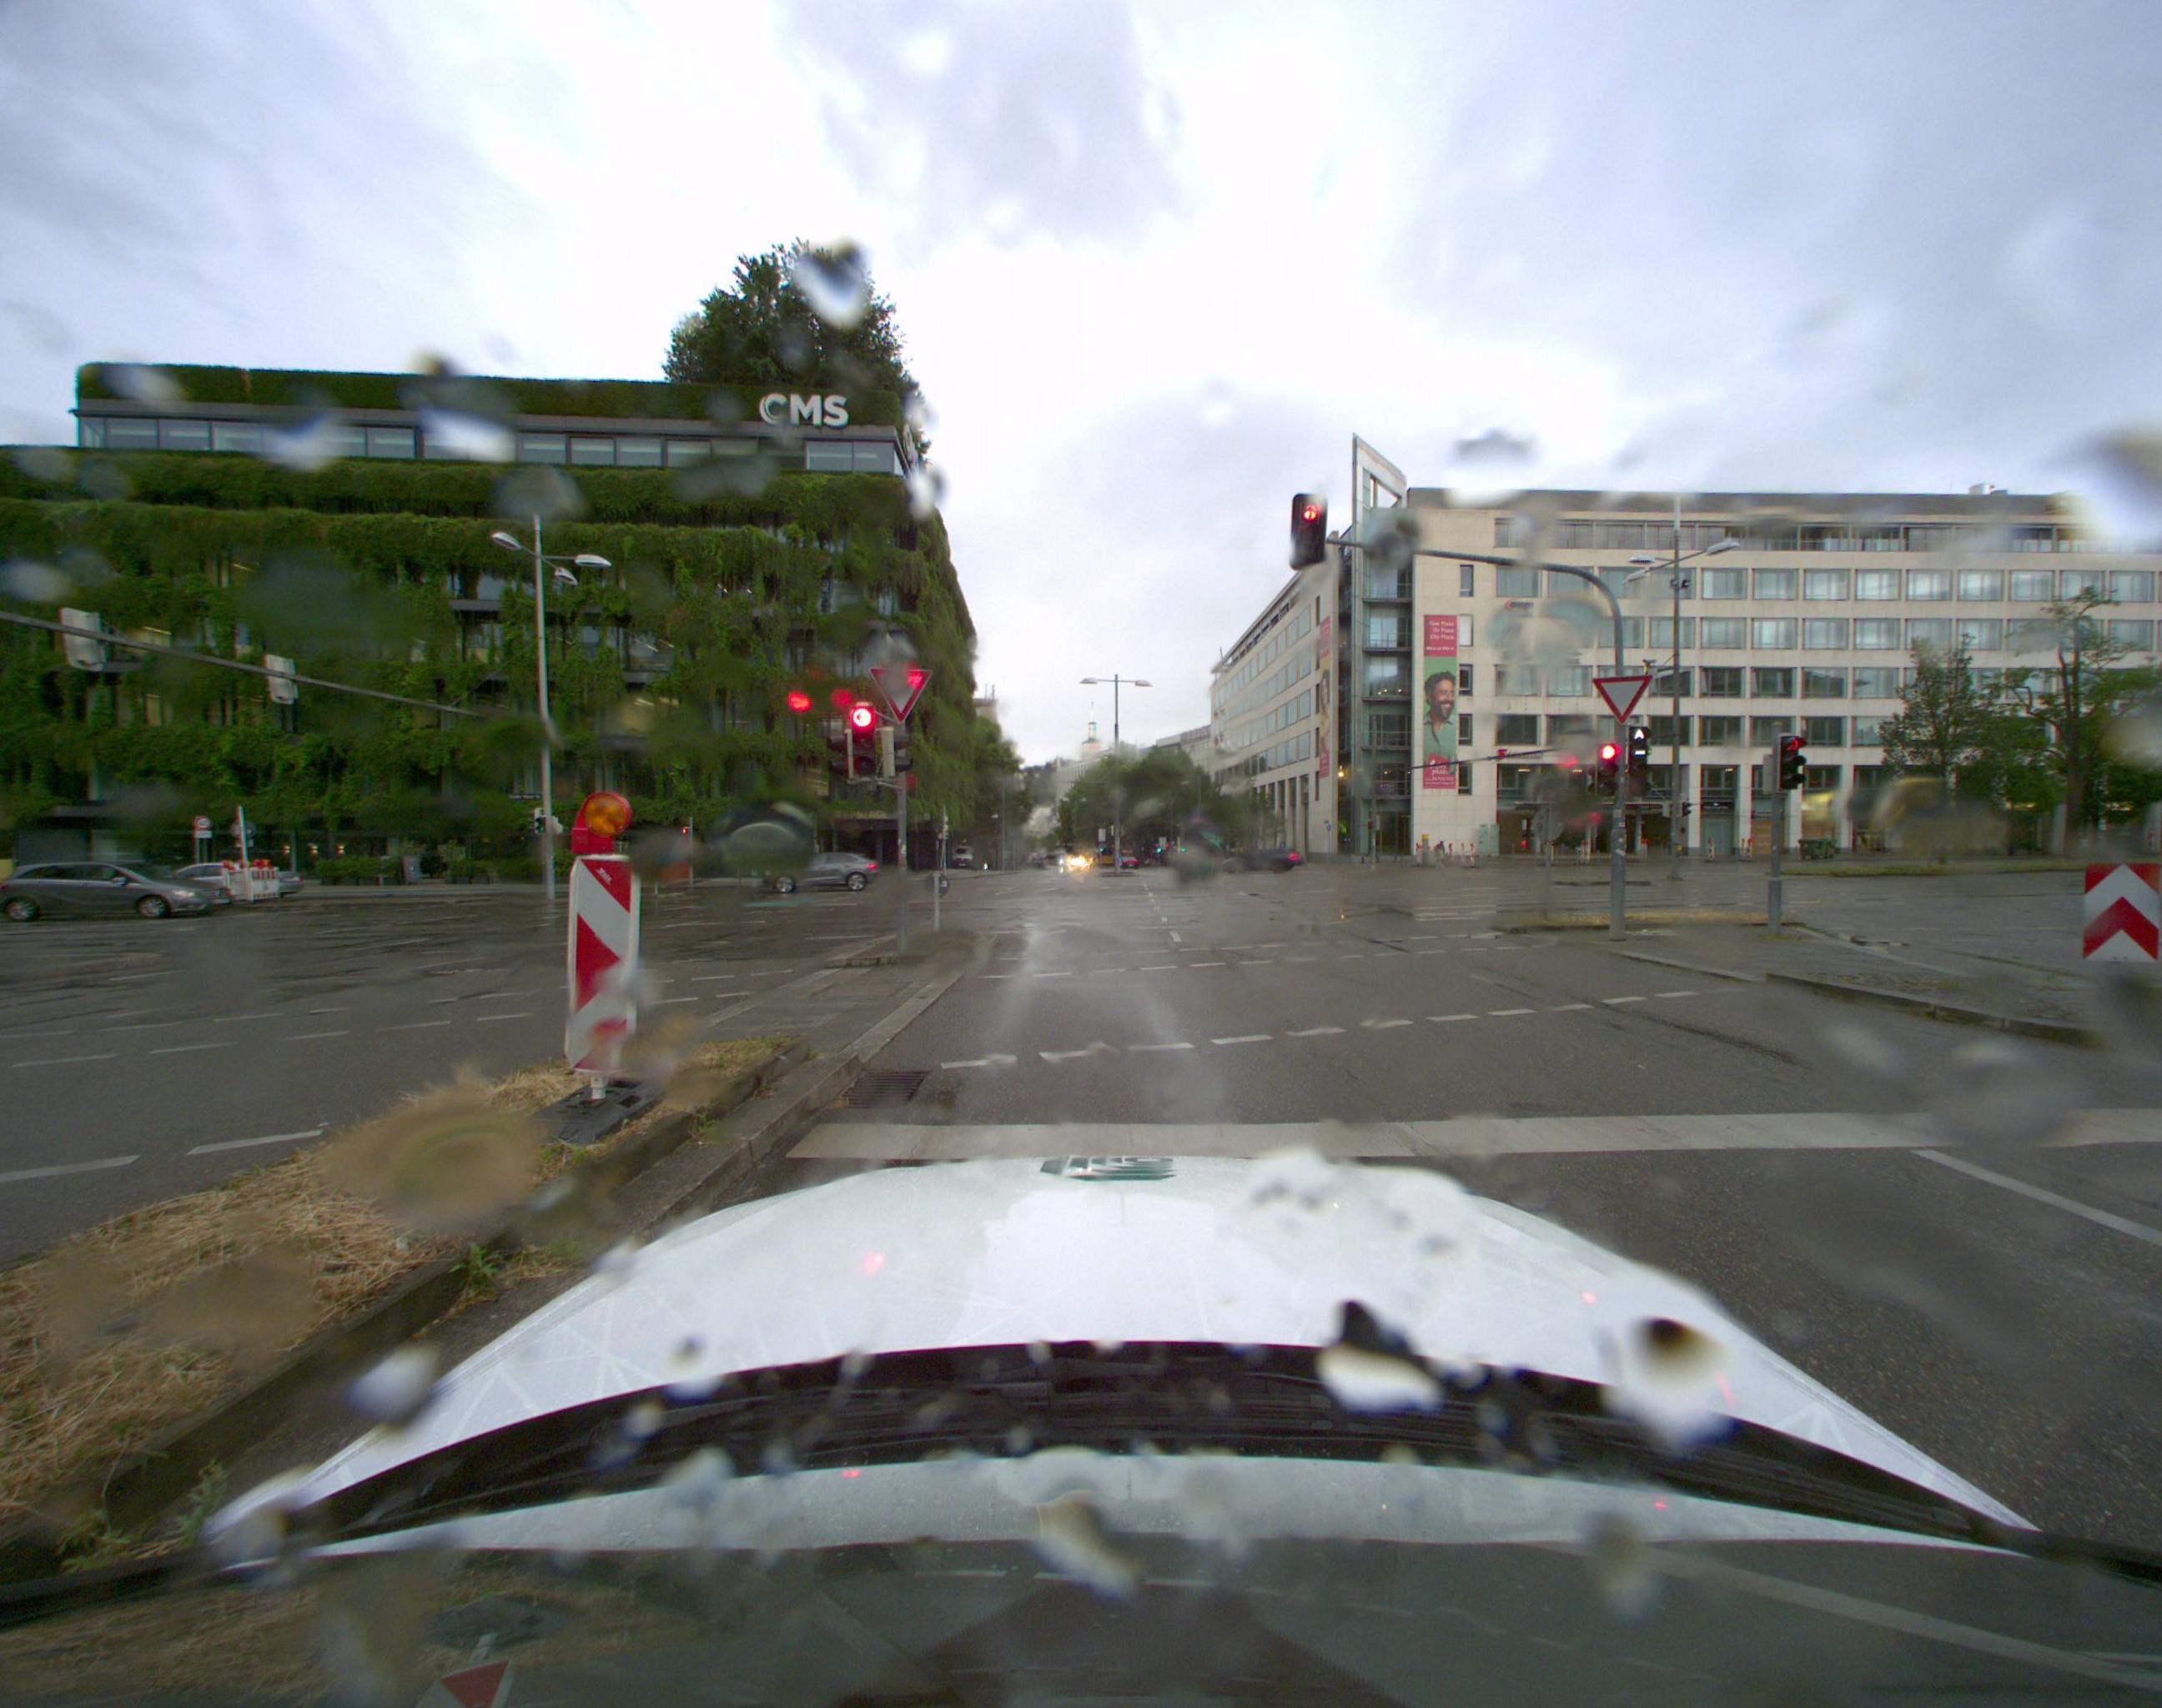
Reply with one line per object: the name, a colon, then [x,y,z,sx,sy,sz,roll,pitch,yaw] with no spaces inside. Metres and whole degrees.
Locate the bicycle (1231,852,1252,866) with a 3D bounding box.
bicycle: [14.303,0.436,72.595,1.770,1.194,0.587,0,-1,3]

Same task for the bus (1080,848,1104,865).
bus: [2.000,0.425,153.274,2.631,2.995,7.415,-1,0,-13]

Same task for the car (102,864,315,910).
car: [-30.183,1.103,28.354,4.721,1.477,1.992,0,1,-12]

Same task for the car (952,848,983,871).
car: [-9.553,0.473,68.729,1.863,1.839,4.001,0,-1,2]

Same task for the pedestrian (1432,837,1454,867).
pedestrian: [21.941,-0.102,49.344,0.958,1.816,0.837,0,-1,1]

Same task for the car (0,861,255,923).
car: [-26.121,0.988,22.059,4.901,1.488,1.924,-1,0,-15]

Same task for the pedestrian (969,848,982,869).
pedestrian: [-8.365,0.340,64.572,0.930,1.644,0.774,0,-1,1]

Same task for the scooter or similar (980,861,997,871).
scooter or similar: [-9.420,1.180,82.941,0.616,1.004,1.671,-1,0,40]

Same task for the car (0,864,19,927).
car: [-27.338,1.007,18.303,3.981,1.475,1.996,-1,0,-6]

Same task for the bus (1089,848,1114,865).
bus: [3.692,0.395,146.082,2.631,2.995,7.415,-1,0,-13]

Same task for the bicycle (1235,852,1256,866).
bicycle: [14.946,0.444,74.132,1.770,1.194,0.587,0,-1,3]

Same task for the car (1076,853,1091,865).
car: [0.355,0.775,121.814,2.158,1.765,5.109,-2,-1,-1]

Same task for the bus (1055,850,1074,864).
bus: [-3.529,0.626,173.567,2.631,2.995,7.294,-1,0,-13]

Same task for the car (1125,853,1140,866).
car: [6.273,0.700,99.223,1.775,1.508,4.001,0,-1,2]

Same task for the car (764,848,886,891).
car: [-10.067,0.597,32.336,4.480,1.609,1.823,0,-1,-14]

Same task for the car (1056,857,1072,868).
car: [-2.866,1.475,136.900,2.163,1.765,4.816,-2,0,-9]

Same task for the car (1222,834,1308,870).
car: [10.799,-0.077,47.898,4.609,2.014,1.558,-1,-1,28]

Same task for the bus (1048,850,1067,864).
bus: [-5.225,0.624,180.710,2.631,2.995,7.415,-1,0,-13]

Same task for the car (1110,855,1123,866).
car: [5.031,0.955,115.292,1.775,1.508,4.001,0,-1,2]
